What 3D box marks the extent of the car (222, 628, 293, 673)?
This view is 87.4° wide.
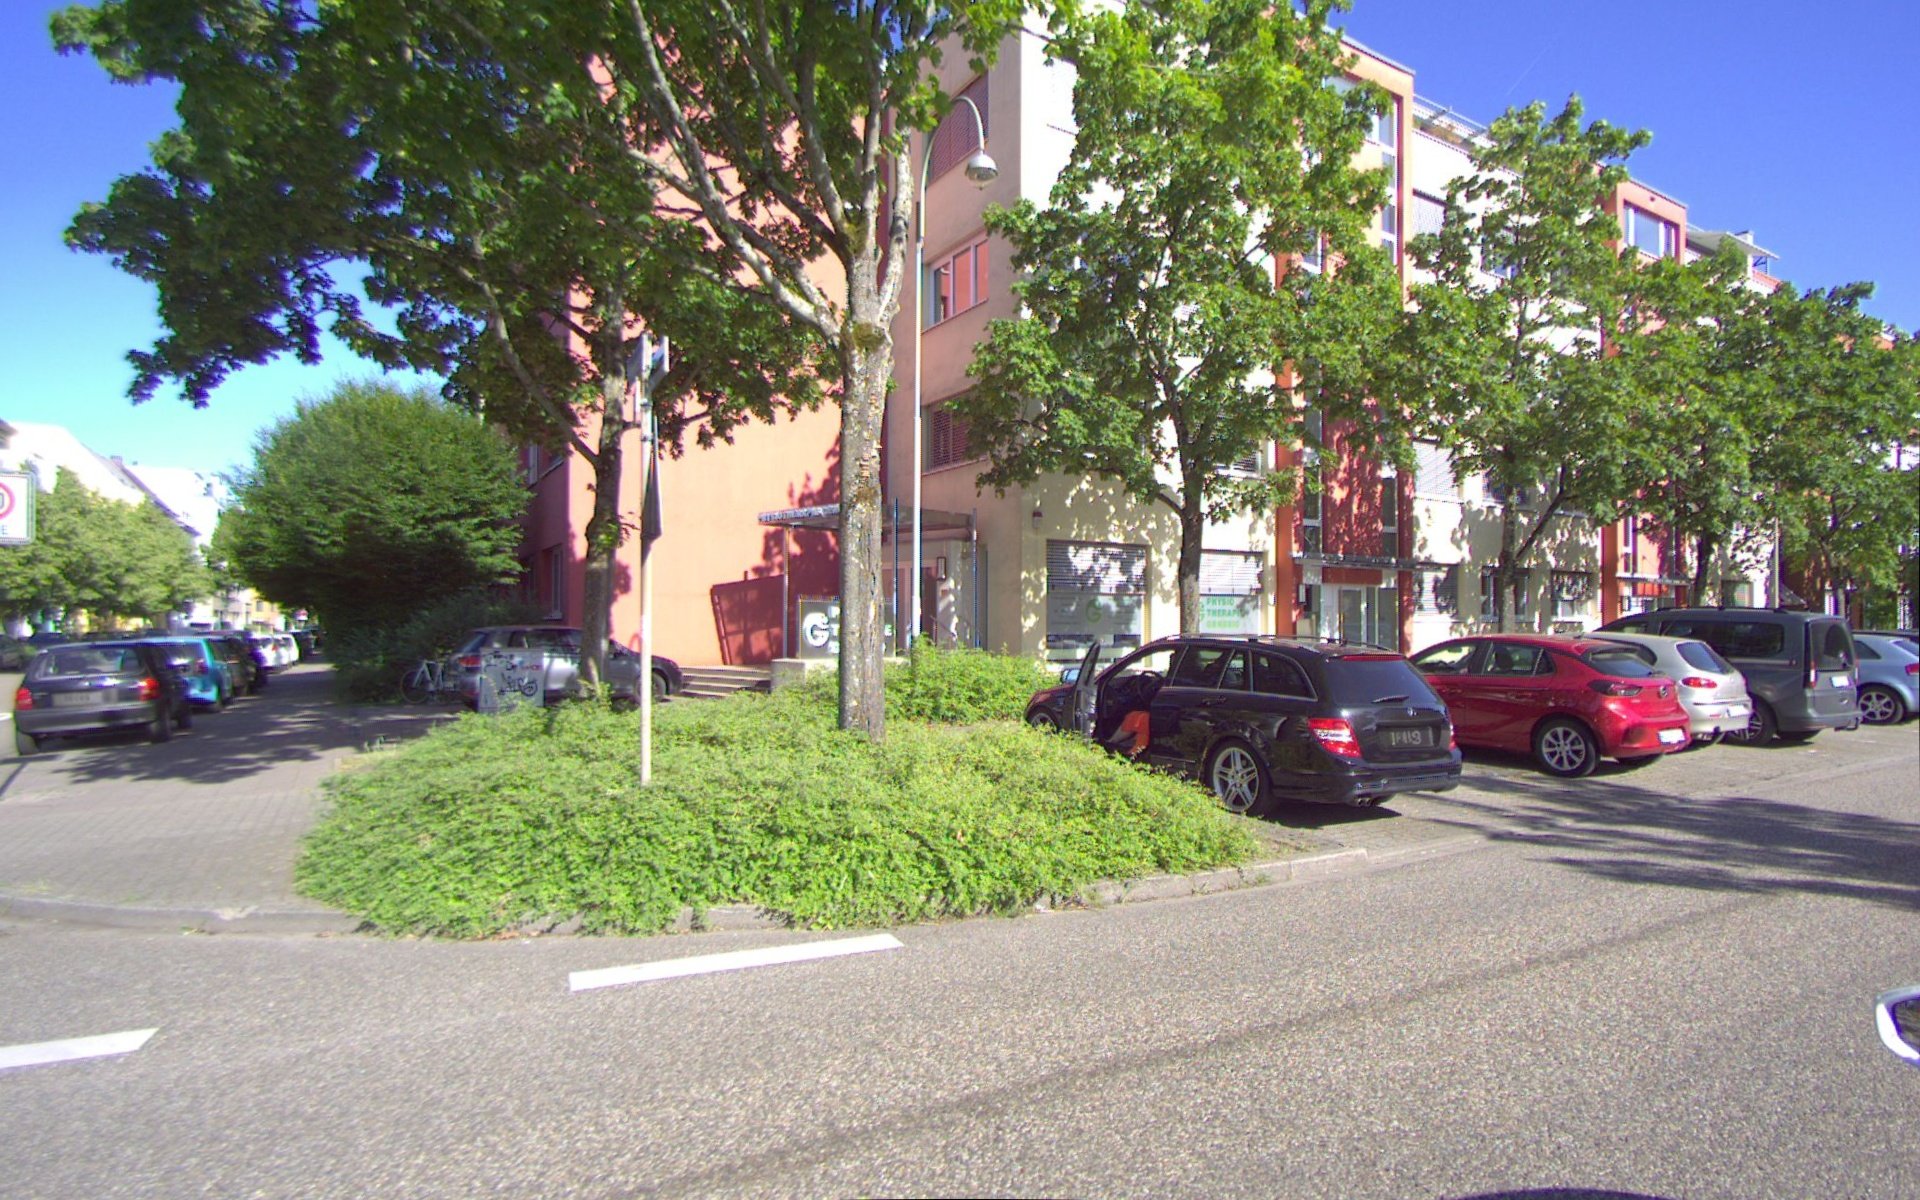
[{"bbox_3d":[-26.486,1.880,38.000,1.915,1.524,3.974,-2,0,-32],"label":"car"}]

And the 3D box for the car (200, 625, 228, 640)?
[{"bbox_3d":[-71.069,3.101,95.776,1.891,1.387,3.963,1,-2,-34],"label":"car"}]

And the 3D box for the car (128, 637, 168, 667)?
[{"bbox_3d":[-54.983,3.469,68.040,1.827,1.829,3.960,1,-1,-36],"label":"car"}]

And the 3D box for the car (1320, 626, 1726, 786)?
[{"bbox_3d":[6.436,1.095,11.915,1.719,1.442,3.872,1,0,-31],"label":"car"}]

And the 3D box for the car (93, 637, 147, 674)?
[{"bbox_3d":[-44.248,2.899,52.971,1.827,1.829,3.960,1,-2,-36],"label":"car"}]

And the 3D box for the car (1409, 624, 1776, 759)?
[{"bbox_3d":[8.391,1.107,13.676,1.719,1.442,3.872,1,0,-31],"label":"car"}]

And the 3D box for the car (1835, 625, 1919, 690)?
[{"bbox_3d":[22.906,1.352,23.222,1.753,1.446,3.705,1,0,-32],"label":"car"}]

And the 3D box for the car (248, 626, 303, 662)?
[{"bbox_3d":[-32.122,2.048,47.217,1.915,1.524,3.886,-2,0,-32],"label":"car"}]

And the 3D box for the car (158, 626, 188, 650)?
[{"bbox_3d":[-66.383,3.181,84.785,1.827,1.829,3.959,1,1,-36],"label":"car"}]

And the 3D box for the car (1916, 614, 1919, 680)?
[{"bbox_3d":[27.321,1.274,25.335,1.940,1.740,4.297,1,0,-32],"label":"car"}]

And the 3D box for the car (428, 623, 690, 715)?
[{"bbox_3d":[-7.164,1.169,18.196,4.103,1.462,1.717,1,-3,-43],"label":"car"}]

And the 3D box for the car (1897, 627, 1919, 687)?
[{"bbox_3d":[25.333,1.439,23.741,1.754,1.446,4.377,1,0,-33],"label":"car"}]

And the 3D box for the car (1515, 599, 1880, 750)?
[{"bbox_3d":[10.453,0.934,14.531,1.765,1.835,3.872,1,0,-31],"label":"car"}]

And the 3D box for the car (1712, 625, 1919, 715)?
[{"bbox_3d":[16.654,1.262,18.847,1.841,1.466,3.702,1,0,-35],"label":"car"}]

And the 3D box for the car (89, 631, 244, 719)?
[{"bbox_3d":[-15.603,1.401,19.972,1.915,1.469,3.974,-2,0,-32],"label":"car"}]

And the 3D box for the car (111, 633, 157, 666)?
[{"bbox_3d":[-49.585,2.931,60.376,1.827,1.829,3.960,1,-1,-36],"label":"car"}]

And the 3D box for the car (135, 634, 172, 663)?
[{"bbox_3d":[-57.553,3.435,71.749,1.827,1.829,3.960,1,0,-36],"label":"car"}]

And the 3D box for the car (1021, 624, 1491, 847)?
[{"bbox_3d":[2.400,1.008,9.317,1.717,1.442,4.246,1,0,-28],"label":"car"}]

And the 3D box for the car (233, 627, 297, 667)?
[{"bbox_3d":[-29.106,1.942,42.164,1.915,1.524,3.974,-2,0,-32],"label":"car"}]

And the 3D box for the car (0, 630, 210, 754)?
[{"bbox_3d":[-12.314,1.217,14.669,1.783,1.466,3.962,-2,0,-32],"label":"car"}]

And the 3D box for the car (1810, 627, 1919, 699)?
[{"bbox_3d":[20.762,1.357,21.382,1.820,1.446,3.705,1,0,-32],"label":"car"}]

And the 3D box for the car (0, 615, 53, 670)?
[{"bbox_3d":[-37.084,1.602,37.900,3.959,2.040,1.981,1,-2,-35],"label":"car"}]

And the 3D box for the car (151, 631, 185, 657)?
[{"bbox_3d":[-61.250,3.392,77.714,1.827,1.829,3.960,1,-1,-36],"label":"car"}]

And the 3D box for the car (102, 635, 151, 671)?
[{"bbox_3d":[-46.773,2.943,56.434,1.827,1.829,3.960,1,-1,-36],"label":"car"}]

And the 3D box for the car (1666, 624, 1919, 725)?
[{"bbox_3d":[14.772,1.210,17.449,1.857,1.466,3.702,1,0,-35],"label":"car"}]

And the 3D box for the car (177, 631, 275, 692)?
[{"bbox_3d":[-21.079,1.713,29.008,1.915,1.524,3.974,-2,0,-32],"label":"car"}]

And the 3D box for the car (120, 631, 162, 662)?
[{"bbox_3d":[-52.321,2.946,64.239,1.827,1.829,3.960,1,-1,-36],"label":"car"}]

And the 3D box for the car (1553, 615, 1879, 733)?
[{"bbox_3d":[12.231,1.096,16.503,1.838,1.595,3.872,1,0,-31],"label":"car"}]

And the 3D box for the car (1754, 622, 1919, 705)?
[{"bbox_3d":[18.705,1.257,20.366,1.839,1.528,3.705,1,0,-32],"label":"car"}]

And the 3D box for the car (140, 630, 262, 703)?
[{"bbox_3d":[-18.167,1.526,24.210,1.915,1.524,3.974,-2,0,-32],"label":"car"}]

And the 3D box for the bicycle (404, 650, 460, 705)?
[{"bbox_3d":[-10.305,1.498,19.580,1.650,0.999,0.448,-2,-2,43],"label":"bicycle"}]
